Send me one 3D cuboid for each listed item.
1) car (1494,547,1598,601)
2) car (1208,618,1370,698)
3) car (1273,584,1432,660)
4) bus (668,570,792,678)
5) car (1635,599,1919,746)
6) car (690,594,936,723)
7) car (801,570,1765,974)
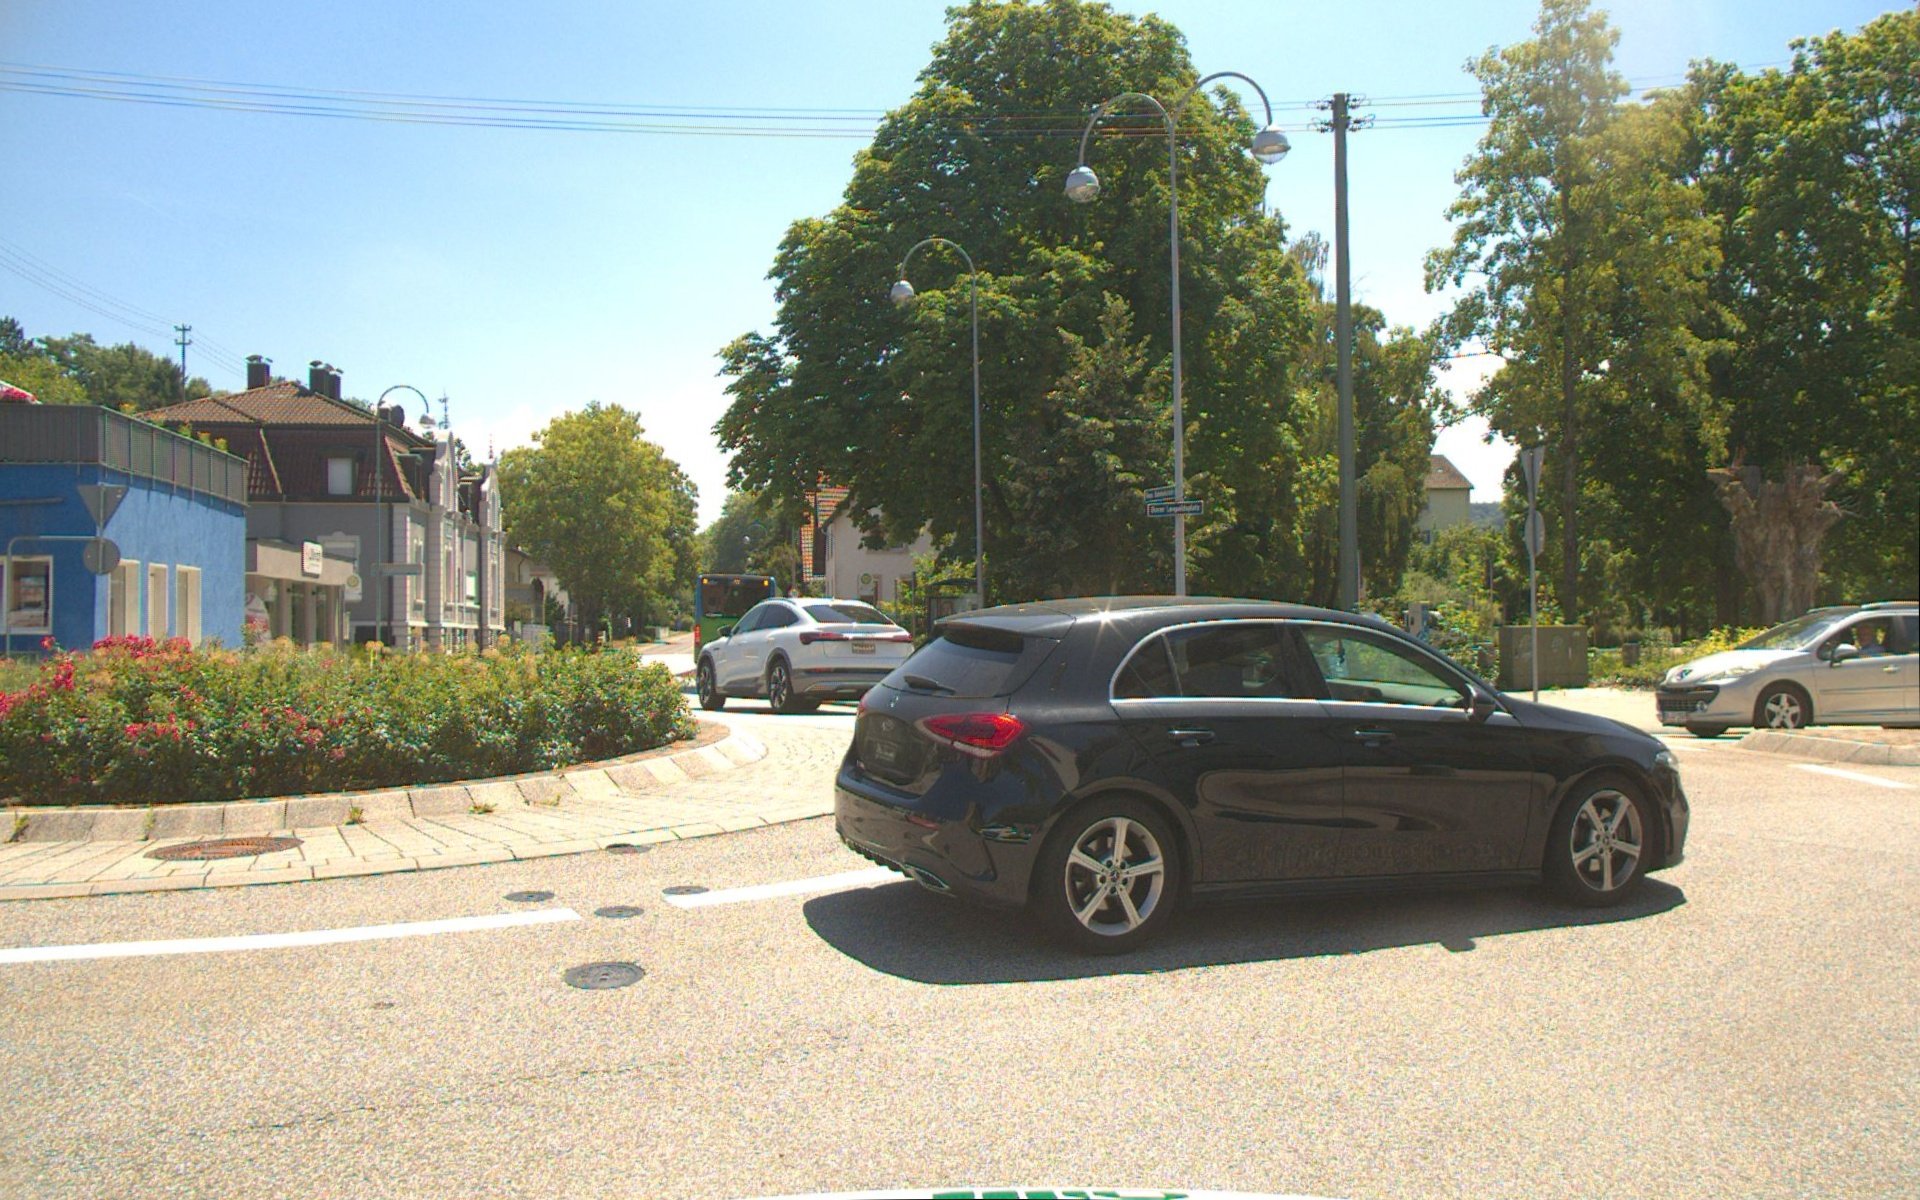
[{"bbox_3d":[23.797,-1.045,67.265,3.903,2.049,2.001,-1,-1,19],"label":"car"},{"bbox_3d":[7.010,1.219,35.307,3.005,1.580,1.624,-1,-1,-21],"label":"car"},{"bbox_3d":[11.095,0.635,46.869,3.930,2.049,1.987,-1,-1,43],"label":"car"},{"bbox_3d":[-7.895,0.923,59.300,3.635,3.227,18.044,1,-1,-6],"label":"bus"},{"bbox_3d":[10.130,0.778,18.927,4.113,1.543,1.744,-1,-1,-6],"label":"car"},{"bbox_3d":[-2.254,0.808,24.173,1.879,1.691,4.362,0,-1,-31],"label":"car"},{"bbox_3d":[1.579,0.620,7.951,4.366,1.482,1.755,-1,2,-25],"label":"car"}]
